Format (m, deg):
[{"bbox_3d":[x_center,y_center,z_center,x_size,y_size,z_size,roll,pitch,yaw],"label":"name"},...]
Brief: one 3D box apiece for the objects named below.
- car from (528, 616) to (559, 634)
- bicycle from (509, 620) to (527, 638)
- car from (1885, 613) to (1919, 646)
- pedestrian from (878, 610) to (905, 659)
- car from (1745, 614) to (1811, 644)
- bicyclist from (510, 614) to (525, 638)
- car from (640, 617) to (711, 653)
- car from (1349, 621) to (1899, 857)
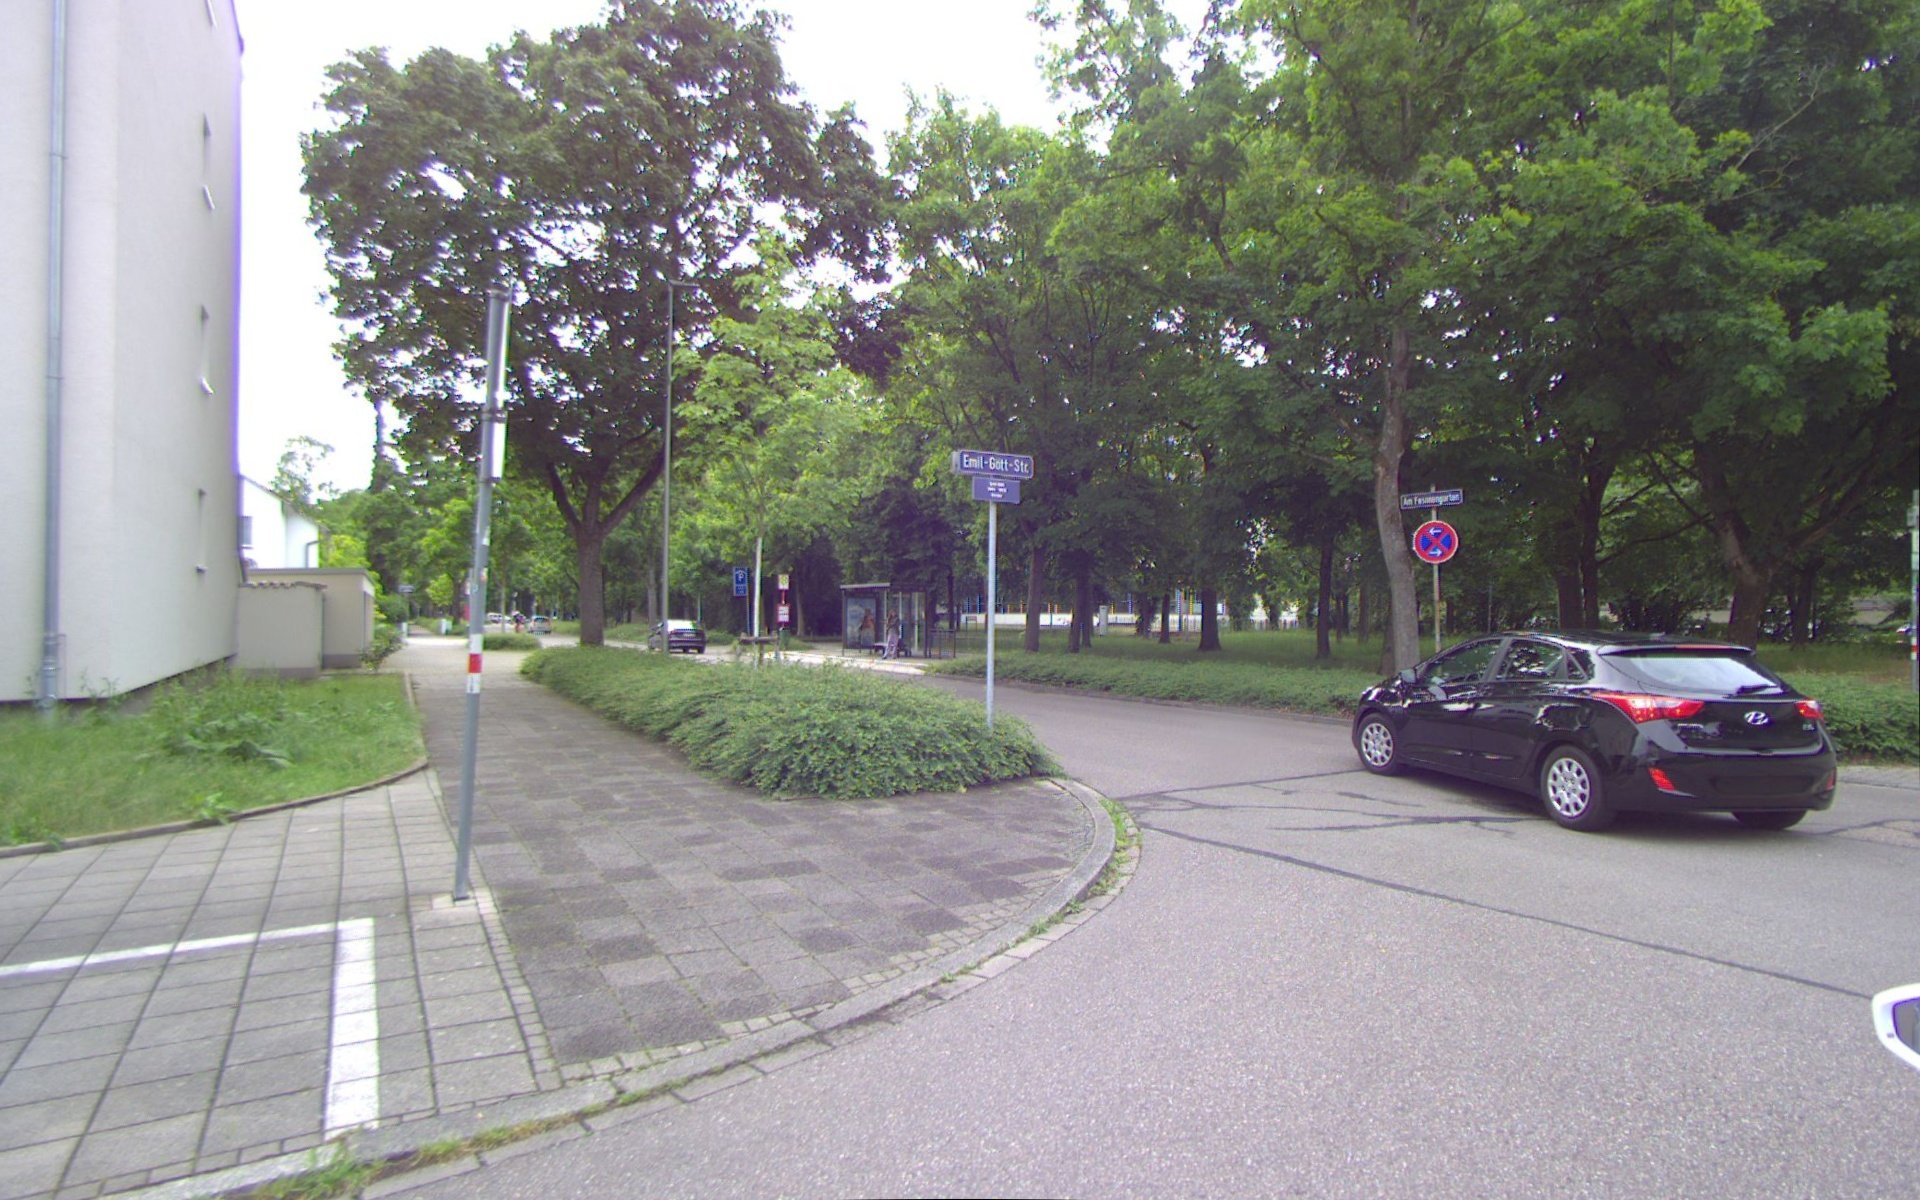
[{"bbox_3d":[-36.200,2.144,87.279,1.884,1.506,3.966,1,-1,-31],"label":"car"},{"bbox_3d":[-27.301,1.771,62.039,0.787,1.039,2.545,0,0,-29],"label":"bicycle"},{"bbox_3d":[48.721,1.501,50.882,3.960,1.639,1.980,1,-1,-35],"label":"car"},{"bbox_3d":[-2.274,1.134,33.361,0.648,1.604,0.693,0,0,-29],"label":"pedestrian"},{"bbox_3d":[45.945,1.637,56.410,3.960,1.639,1.905,1,-1,-35],"label":"car"},{"bbox_3d":[-27.265,1.588,61.937,0.777,1.489,0.930,0,0,-29],"label":"bicyclist"},{"bbox_3d":[-12.307,1.477,43.297,1.850,1.482,4.080,0,-1,-32],"label":"car"},{"bbox_3d":[5.110,0.947,8.463,1.818,1.482,3.823,1,-1,-7],"label":"car"}]
